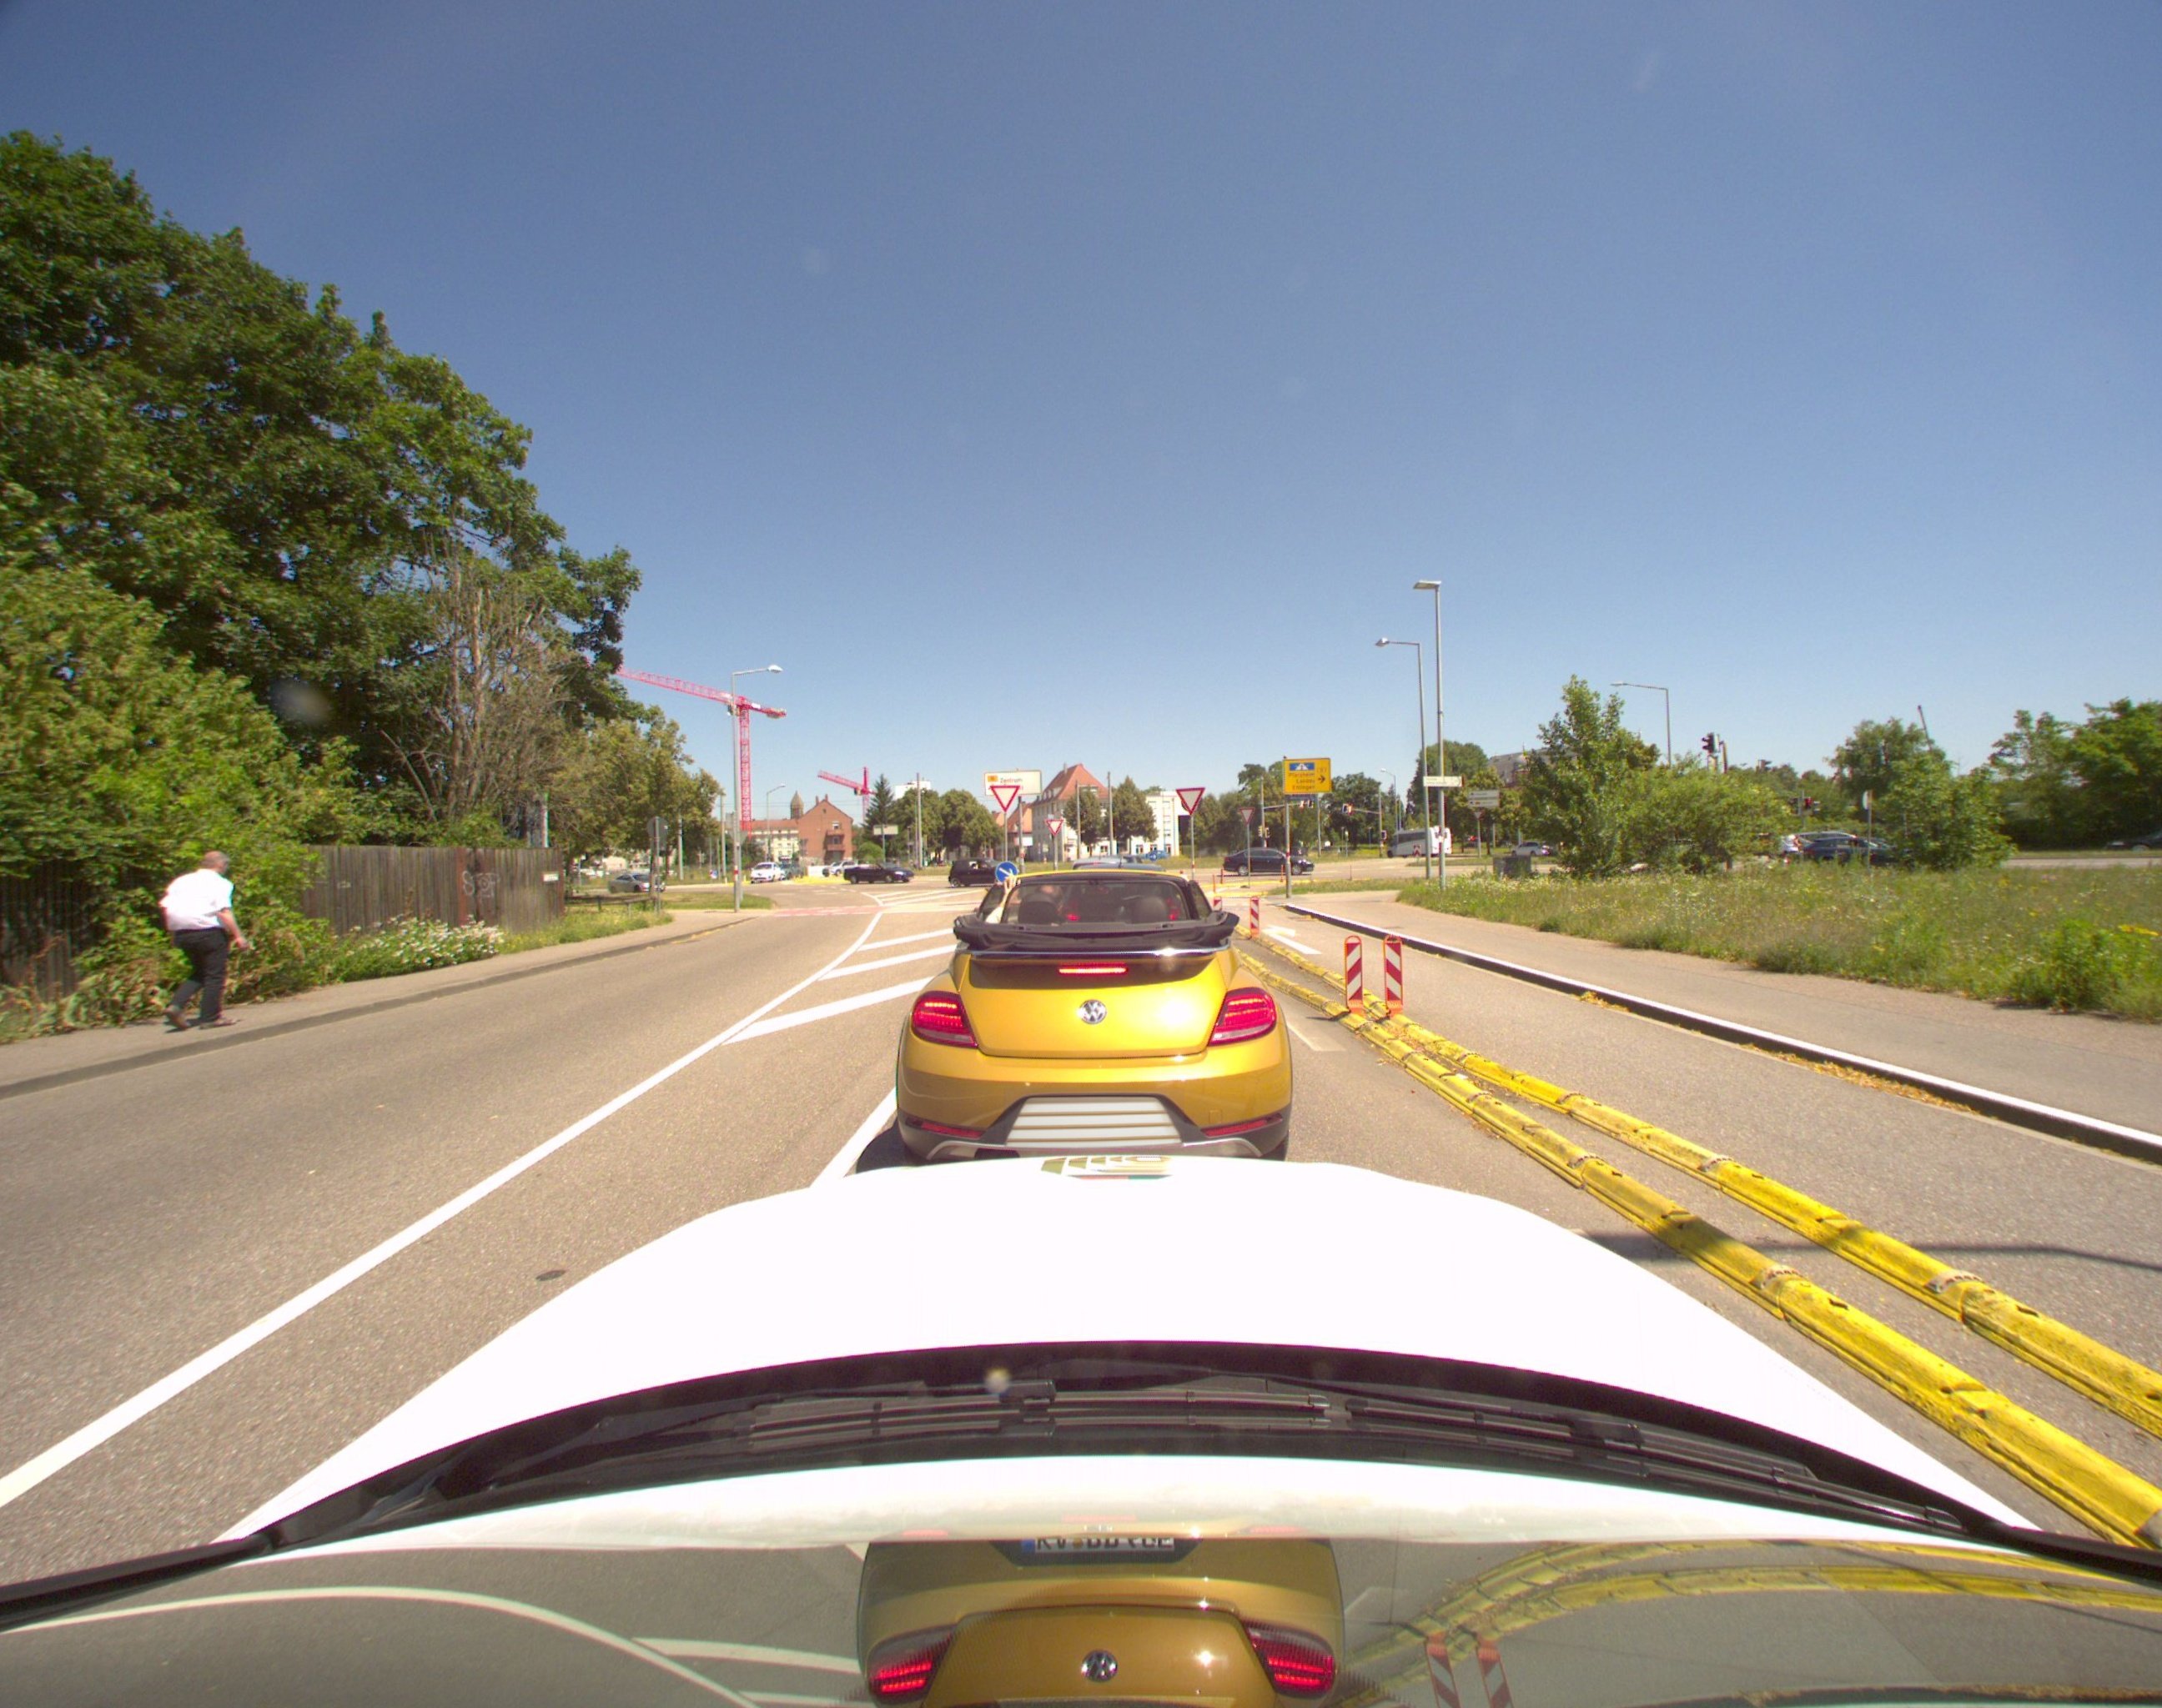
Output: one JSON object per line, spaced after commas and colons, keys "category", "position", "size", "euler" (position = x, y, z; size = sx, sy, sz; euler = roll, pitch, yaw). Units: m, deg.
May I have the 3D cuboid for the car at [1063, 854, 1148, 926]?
{"category": "car", "position": [0.572, 0.749, 18.805], "size": [1.730, 1.442, 4.002], "euler": [-1, 0, 2]}

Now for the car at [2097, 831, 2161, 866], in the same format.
{"category": "car", "position": [52.703, -0.278, 39.164], "size": [1.746, 1.688, 4.635], "euler": [-1, 0, -43]}

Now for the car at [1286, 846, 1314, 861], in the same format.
{"category": "car", "position": [23.496, -0.019, 87.376], "size": [1.646, 1.606, 3.215], "euler": [-1, 0, -11]}

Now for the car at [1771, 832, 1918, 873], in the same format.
{"category": "car", "position": [29.537, -0.038, 31.684], "size": [3.948, 1.496, 1.658], "euler": [-1, 0, 34]}

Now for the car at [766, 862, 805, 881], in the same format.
{"category": "car", "position": [-25.187, 1.452, 69.494], "size": [1.749, 1.549, 4.002], "euler": [-1, 0, 2]}

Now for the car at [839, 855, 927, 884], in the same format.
{"category": "car", "position": [-12.090, 0.935, 49.727], "size": [4.894, 1.656, 2.011], "euler": [-1, 0, 22]}

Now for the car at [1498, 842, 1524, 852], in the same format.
{"category": "car", "position": [79.427, -1.273, 150.537], "size": [3.993, 1.714, 1.990], "euler": [-1, 0, -15]}

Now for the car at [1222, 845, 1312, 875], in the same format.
{"category": "car", "position": [9.679, 0.330, 42.728], "size": [4.491, 1.447, 1.828], "euler": [-1, 0, 9]}

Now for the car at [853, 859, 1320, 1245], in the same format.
{"category": "car", "position": [0.070, 0.762, 4.976], "size": [1.746, 1.422, 3.778], "euler": [-1, 0, 1]}

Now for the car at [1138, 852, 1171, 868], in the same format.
{"category": "car", "position": [9.100, 0.759, 100.646], "size": [3.967, 1.838, 2.003], "euler": [-1, 0, 5]}

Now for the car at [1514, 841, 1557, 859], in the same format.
{"category": "car", "position": [38.907, -0.343, 69.766], "size": [1.643, 1.424, 3.798], "euler": [-1, 0, 2]}

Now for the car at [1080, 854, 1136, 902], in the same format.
{"category": "car", "position": [0.931, 0.757, 27.605], "size": [1.730, 1.477, 4.002], "euler": [-1, 0, 2]}

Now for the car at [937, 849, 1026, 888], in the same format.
{"category": "car", "position": [-4.961, 0.722, 40.950], "size": [3.960, 1.816, 2.007], "euler": [-1, 0, 12]}

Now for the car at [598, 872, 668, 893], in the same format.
{"category": "car", "position": [-29.557, 1.890, 53.753], "size": [4.225, 1.316, 1.833], "euler": [-1, 0, 24]}

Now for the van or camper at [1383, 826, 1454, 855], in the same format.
{"category": "van or camper", "position": [33.691, -1.338, 81.638], "size": [2.510, 2.693, 7.472], "euler": [-1, 0, -16]}

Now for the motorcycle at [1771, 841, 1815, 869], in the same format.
{"category": "motorcycle", "position": [25.795, 0.032, 29.506], "size": [1.712, 0.970, 0.625], "euler": [-1, 0, -28]}

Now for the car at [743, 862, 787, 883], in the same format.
{"category": "car", "position": [-24.539, 1.419, 63.419], "size": [1.749, 1.549, 4.002], "euler": [-1, 0, 2]}

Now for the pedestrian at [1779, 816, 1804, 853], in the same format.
{"category": "pedestrian", "position": [36.799, -1.007, 42.201], "size": [0.647, 1.870, 0.737], "euler": [-1, 0, 3]}

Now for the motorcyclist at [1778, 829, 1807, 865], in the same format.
{"category": "motorcyclist", "position": [25.814, -0.256, 29.552], "size": [0.616, 1.289, 0.576], "euler": [-1, -1, -27]}

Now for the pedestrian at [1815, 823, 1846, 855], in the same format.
{"category": "pedestrian", "position": [37.784, -0.756, 41.047], "size": [0.788, 1.563, 0.824], "euler": [-1, 0, 8]}

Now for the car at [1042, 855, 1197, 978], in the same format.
{"category": "car", "position": [0.531, 0.757, 11.788], "size": [1.841, 1.442, 4.002], "euler": [-1, 0, 2]}

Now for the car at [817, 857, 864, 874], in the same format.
{"category": "car", "position": [-23.323, 1.115, 79.107], "size": [1.690, 1.500, 4.247], "euler": [-1, 0, 34]}

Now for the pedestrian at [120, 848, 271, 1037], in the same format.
{"category": "pedestrian", "position": [-9.007, 0.859, 8.320], "size": [0.590, 1.825, 0.851], "euler": [-1, 0, 2]}
